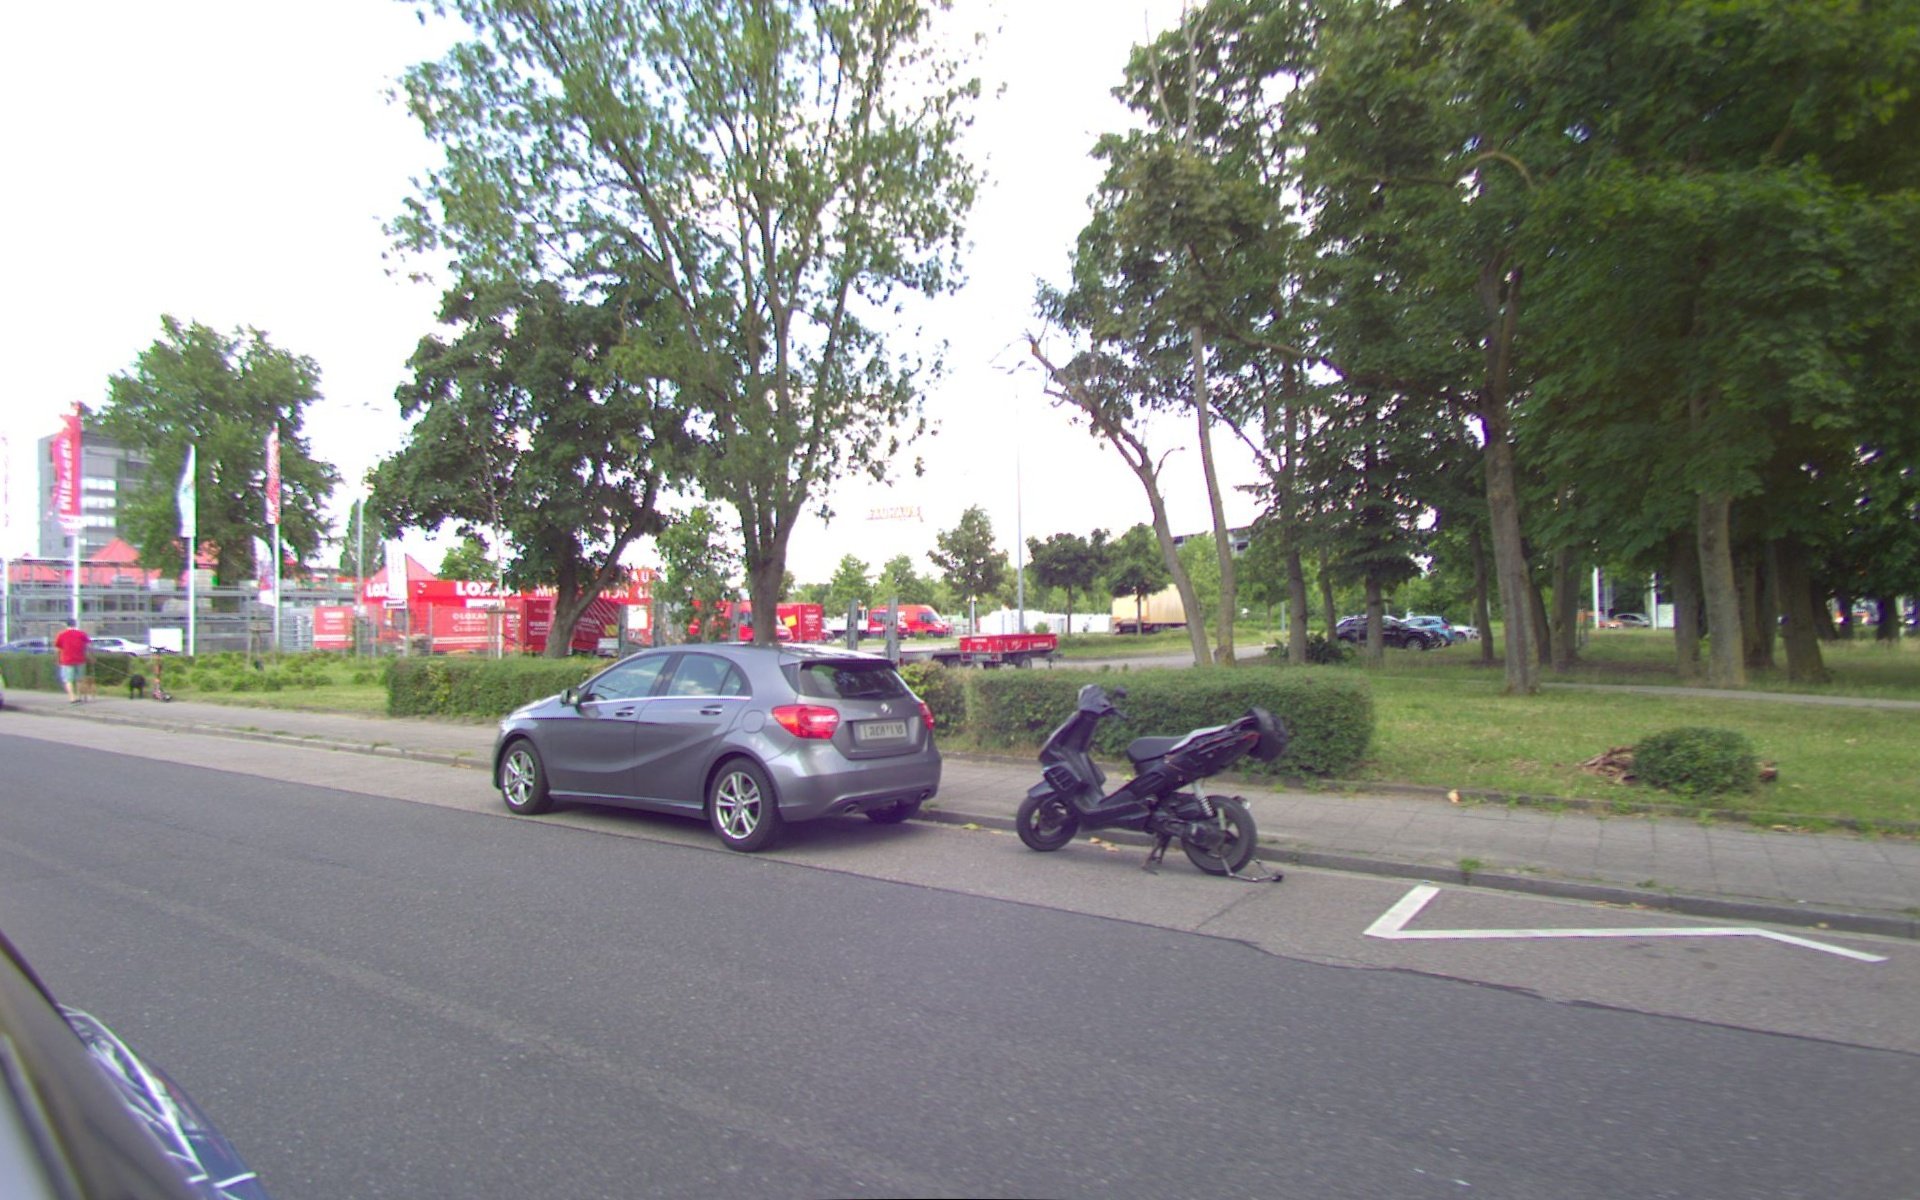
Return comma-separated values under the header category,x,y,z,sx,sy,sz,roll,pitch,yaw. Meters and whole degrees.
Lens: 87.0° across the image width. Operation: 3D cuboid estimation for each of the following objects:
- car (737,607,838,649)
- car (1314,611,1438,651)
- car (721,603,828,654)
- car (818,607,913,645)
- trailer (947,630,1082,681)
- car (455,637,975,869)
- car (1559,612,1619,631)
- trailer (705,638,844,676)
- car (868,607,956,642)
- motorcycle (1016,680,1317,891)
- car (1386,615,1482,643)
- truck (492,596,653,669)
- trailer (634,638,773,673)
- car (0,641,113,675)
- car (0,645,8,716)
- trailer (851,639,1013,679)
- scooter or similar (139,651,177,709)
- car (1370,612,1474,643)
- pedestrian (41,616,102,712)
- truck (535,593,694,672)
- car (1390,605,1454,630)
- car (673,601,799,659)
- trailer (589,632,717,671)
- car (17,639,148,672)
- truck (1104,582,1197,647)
category,x,y,z,sx,sy,sz,roll,pitch,yaw
car,-10.708,1.691,62.563,6.420,2.433,2.248,0,0,34
car,16.485,1.210,40.225,4.345,1.523,1.555,-1,-1,34
car,-9.976,1.466,54.225,5.709,2.613,2.247,0,0,34
car,-6.450,1.727,68.646,6.420,2.433,2.248,0,0,34
trailer,1.521,1.467,27.244,1.713,1.200,3.779,-3,-2,39
car,-2.130,1.057,8.254,4.321,1.431,1.694,-2,-4,35
car,54.499,1.854,87.698,1.887,1.524,4.013,0,-1,-23
trailer,-5.728,1.739,31.671,2.016,0.919,4.202,0,0,32
car,-3.555,1.772,74.043,6.420,2.433,2.248,0,0,34
motorcycle,1.291,1.109,6.509,1.798,1.147,0.616,-2,-5,35
car,25.438,1.562,54.353,4.399,1.423,1.977,-1,-1,34
truck,-14.691,1.166,38.717,1.811,2.613,5.704,0,0,35
trailer,-8.444,1.803,33.684,2.152,0.919,4.202,0,0,32
car,-41.517,2.593,45.968,1.924,1.387,4.330,-2,-2,33
car,-22.510,1.717,21.917,4.222,1.490,1.751,-2,-4,33
trailer,-0.712,1.642,28.622,2.185,0.920,4.550,-3,-2,38
scooter or similar,-17.707,1.741,22.346,0.511,1.202,1.280,0,-1,-45
car,22.559,1.338,49.468,4.399,1.423,1.977,-1,-1,34
pedestrian,-19.467,1.380,22.173,0.883,2.029,0.803,-1,-1,33
truck,-12.330,1.098,36.517,1.775,2.613,5.501,0,0,34
car,47.902,1.794,105.075,2.325,2.461,5.929,0,-1,-23
car,-10.982,1.392,49.466,6.422,2.613,2.247,0,0,35
trailer,-10.506,1.734,34.934,1.666,1.129,4.202,0,0,31
car,-43.837,2.754,50.677,1.950,1.465,4.644,-2,-2,34
truck,12.523,0.888,65.899,2.980,3.979,8.254,0,0,34
